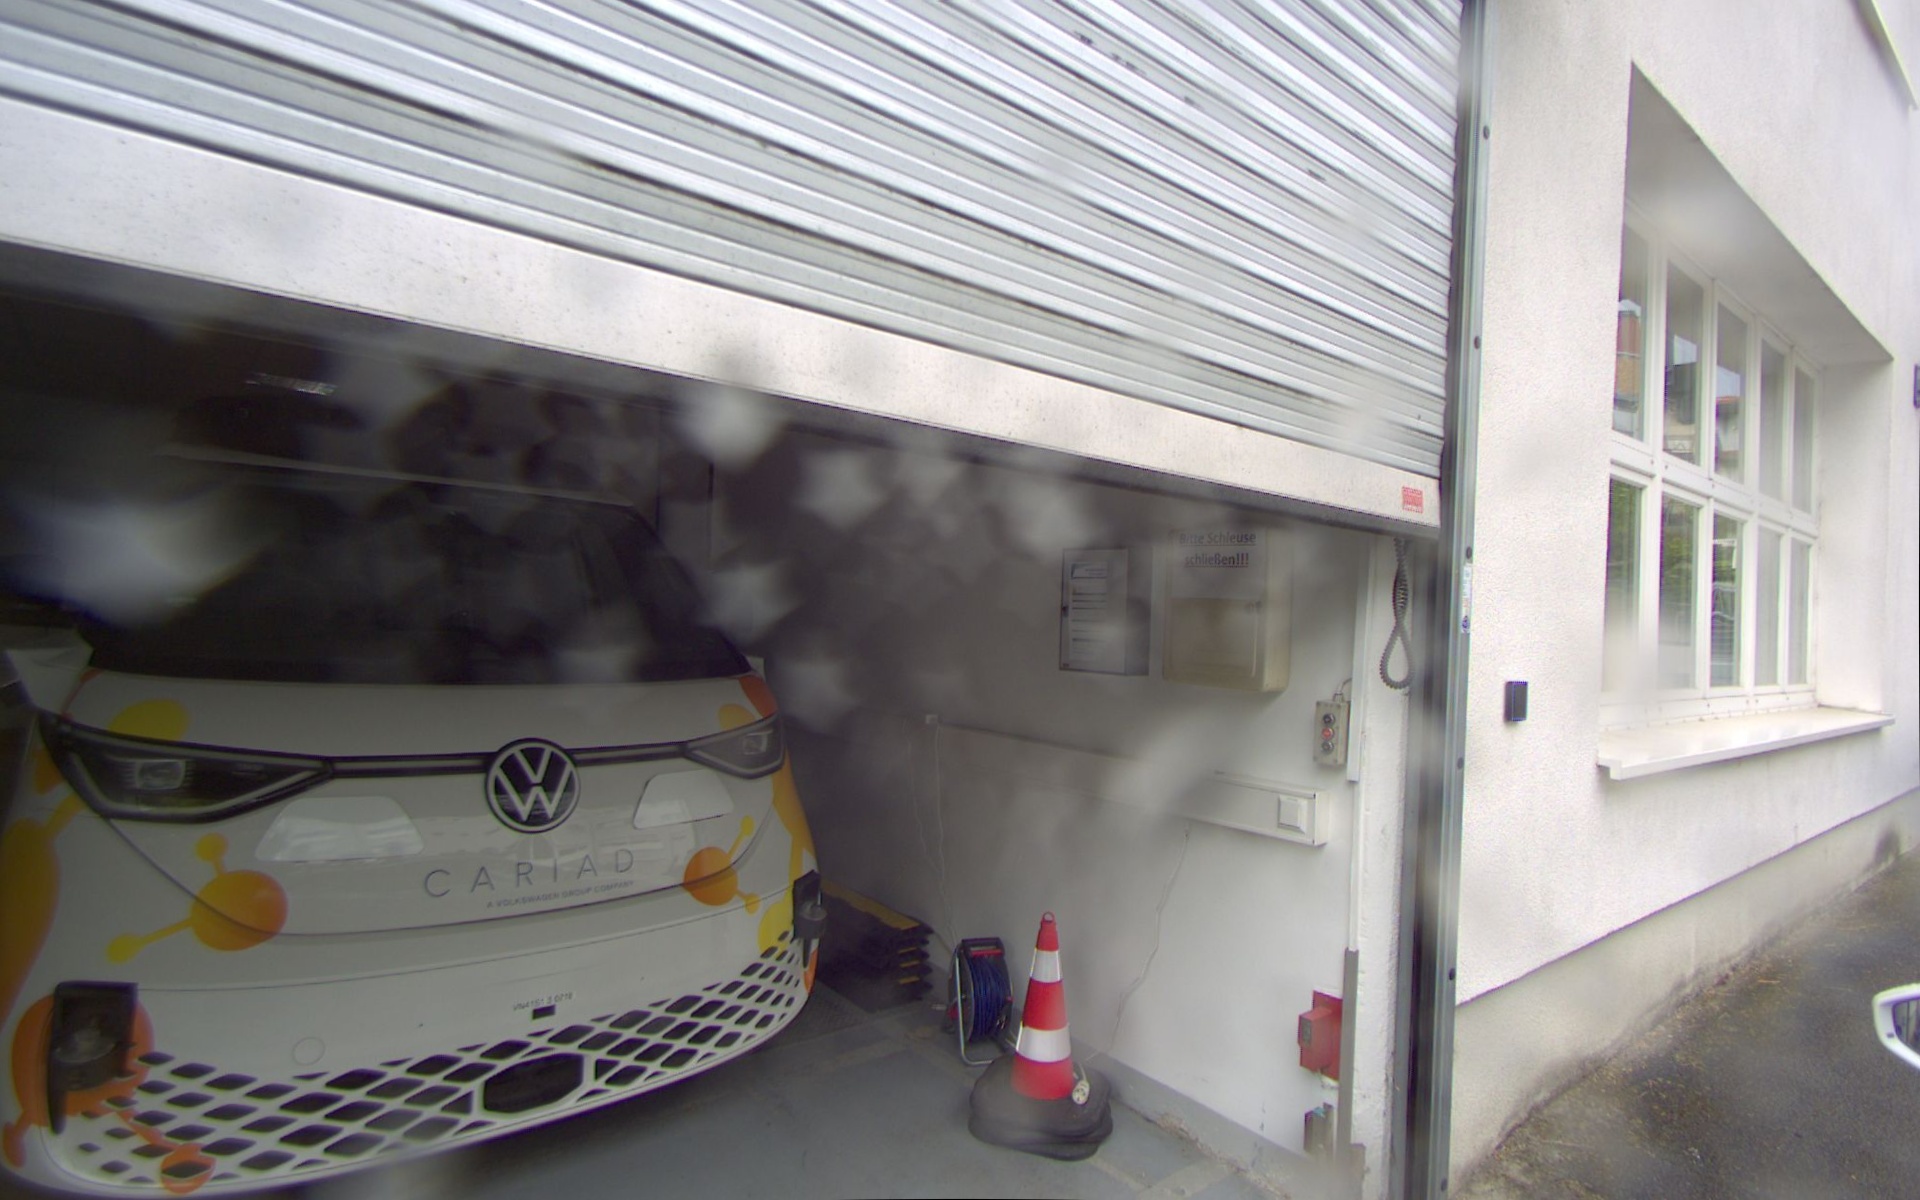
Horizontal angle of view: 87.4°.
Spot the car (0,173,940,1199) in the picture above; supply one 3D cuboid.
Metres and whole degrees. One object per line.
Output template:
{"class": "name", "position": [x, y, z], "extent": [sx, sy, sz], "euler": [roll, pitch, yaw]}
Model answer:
{"class": "car", "position": [-2.368, 0.294, 4.001], "extent": [2.068, 2.040, 4.650], "euler": [3, 0, -40]}
